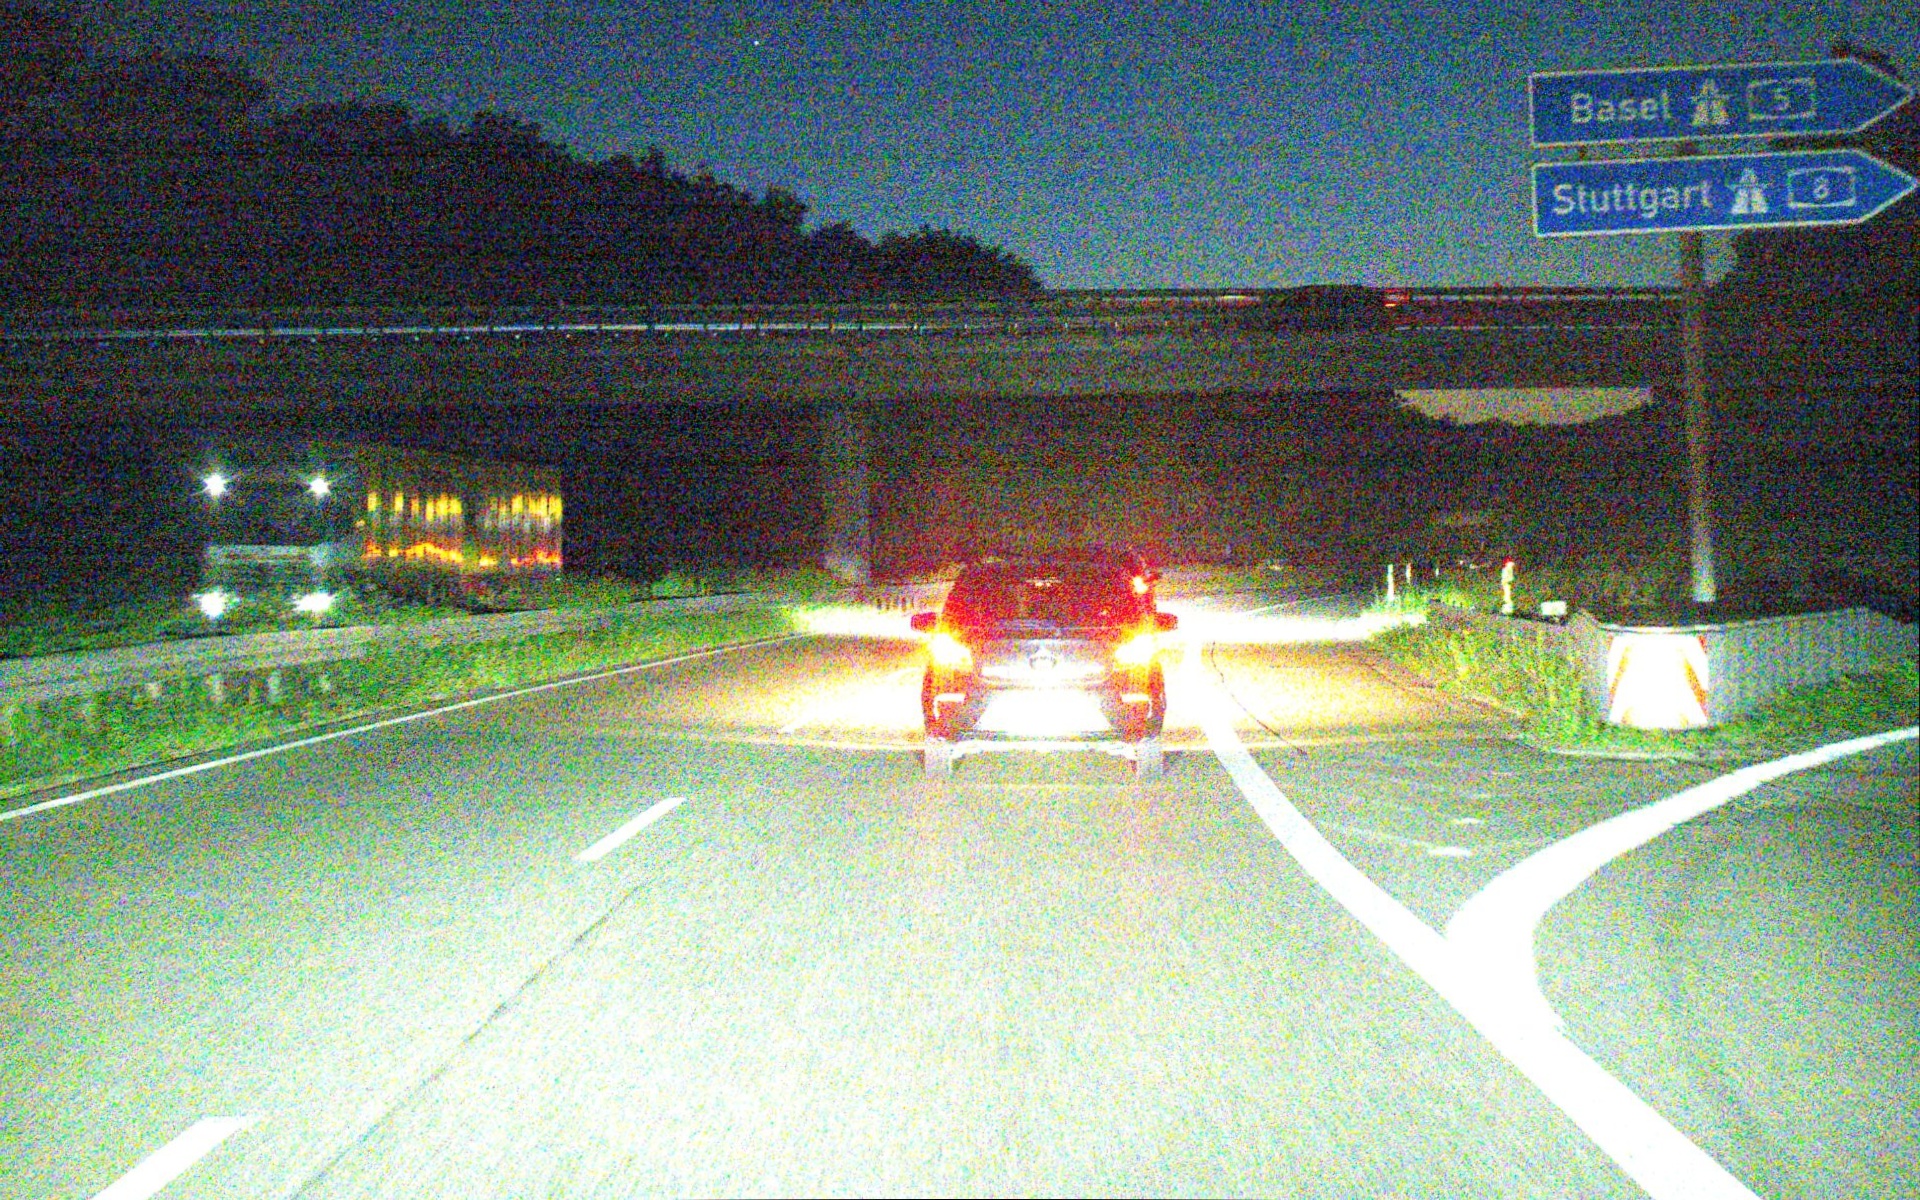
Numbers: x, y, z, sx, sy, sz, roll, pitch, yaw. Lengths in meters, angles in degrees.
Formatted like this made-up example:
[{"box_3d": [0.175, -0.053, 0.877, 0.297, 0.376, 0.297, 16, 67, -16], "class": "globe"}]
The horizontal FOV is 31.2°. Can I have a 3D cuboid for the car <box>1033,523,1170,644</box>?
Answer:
[{"box_3d": [2.125, -0.276, 50.624, 1.907, 1.692, 4.000, -1, 1, 4], "class": "car"}]

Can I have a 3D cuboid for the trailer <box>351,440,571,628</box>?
[{"box_3d": [-11.157, -1.501, 77.781, 2.718, 3.943, 9.045, -1, 1, 6], "class": "trailer"}]

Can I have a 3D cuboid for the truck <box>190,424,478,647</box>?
[{"box_3d": [-12.195, -1.293, 68.196, 2.681, 4.030, 10.652, -1, 1, 6], "class": "truck"}]

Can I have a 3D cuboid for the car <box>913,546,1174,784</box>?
[{"box_3d": [0.511, 0.388, 24.158, 1.588, 1.503, 4.000, 1, 1, -2], "class": "car"}]
